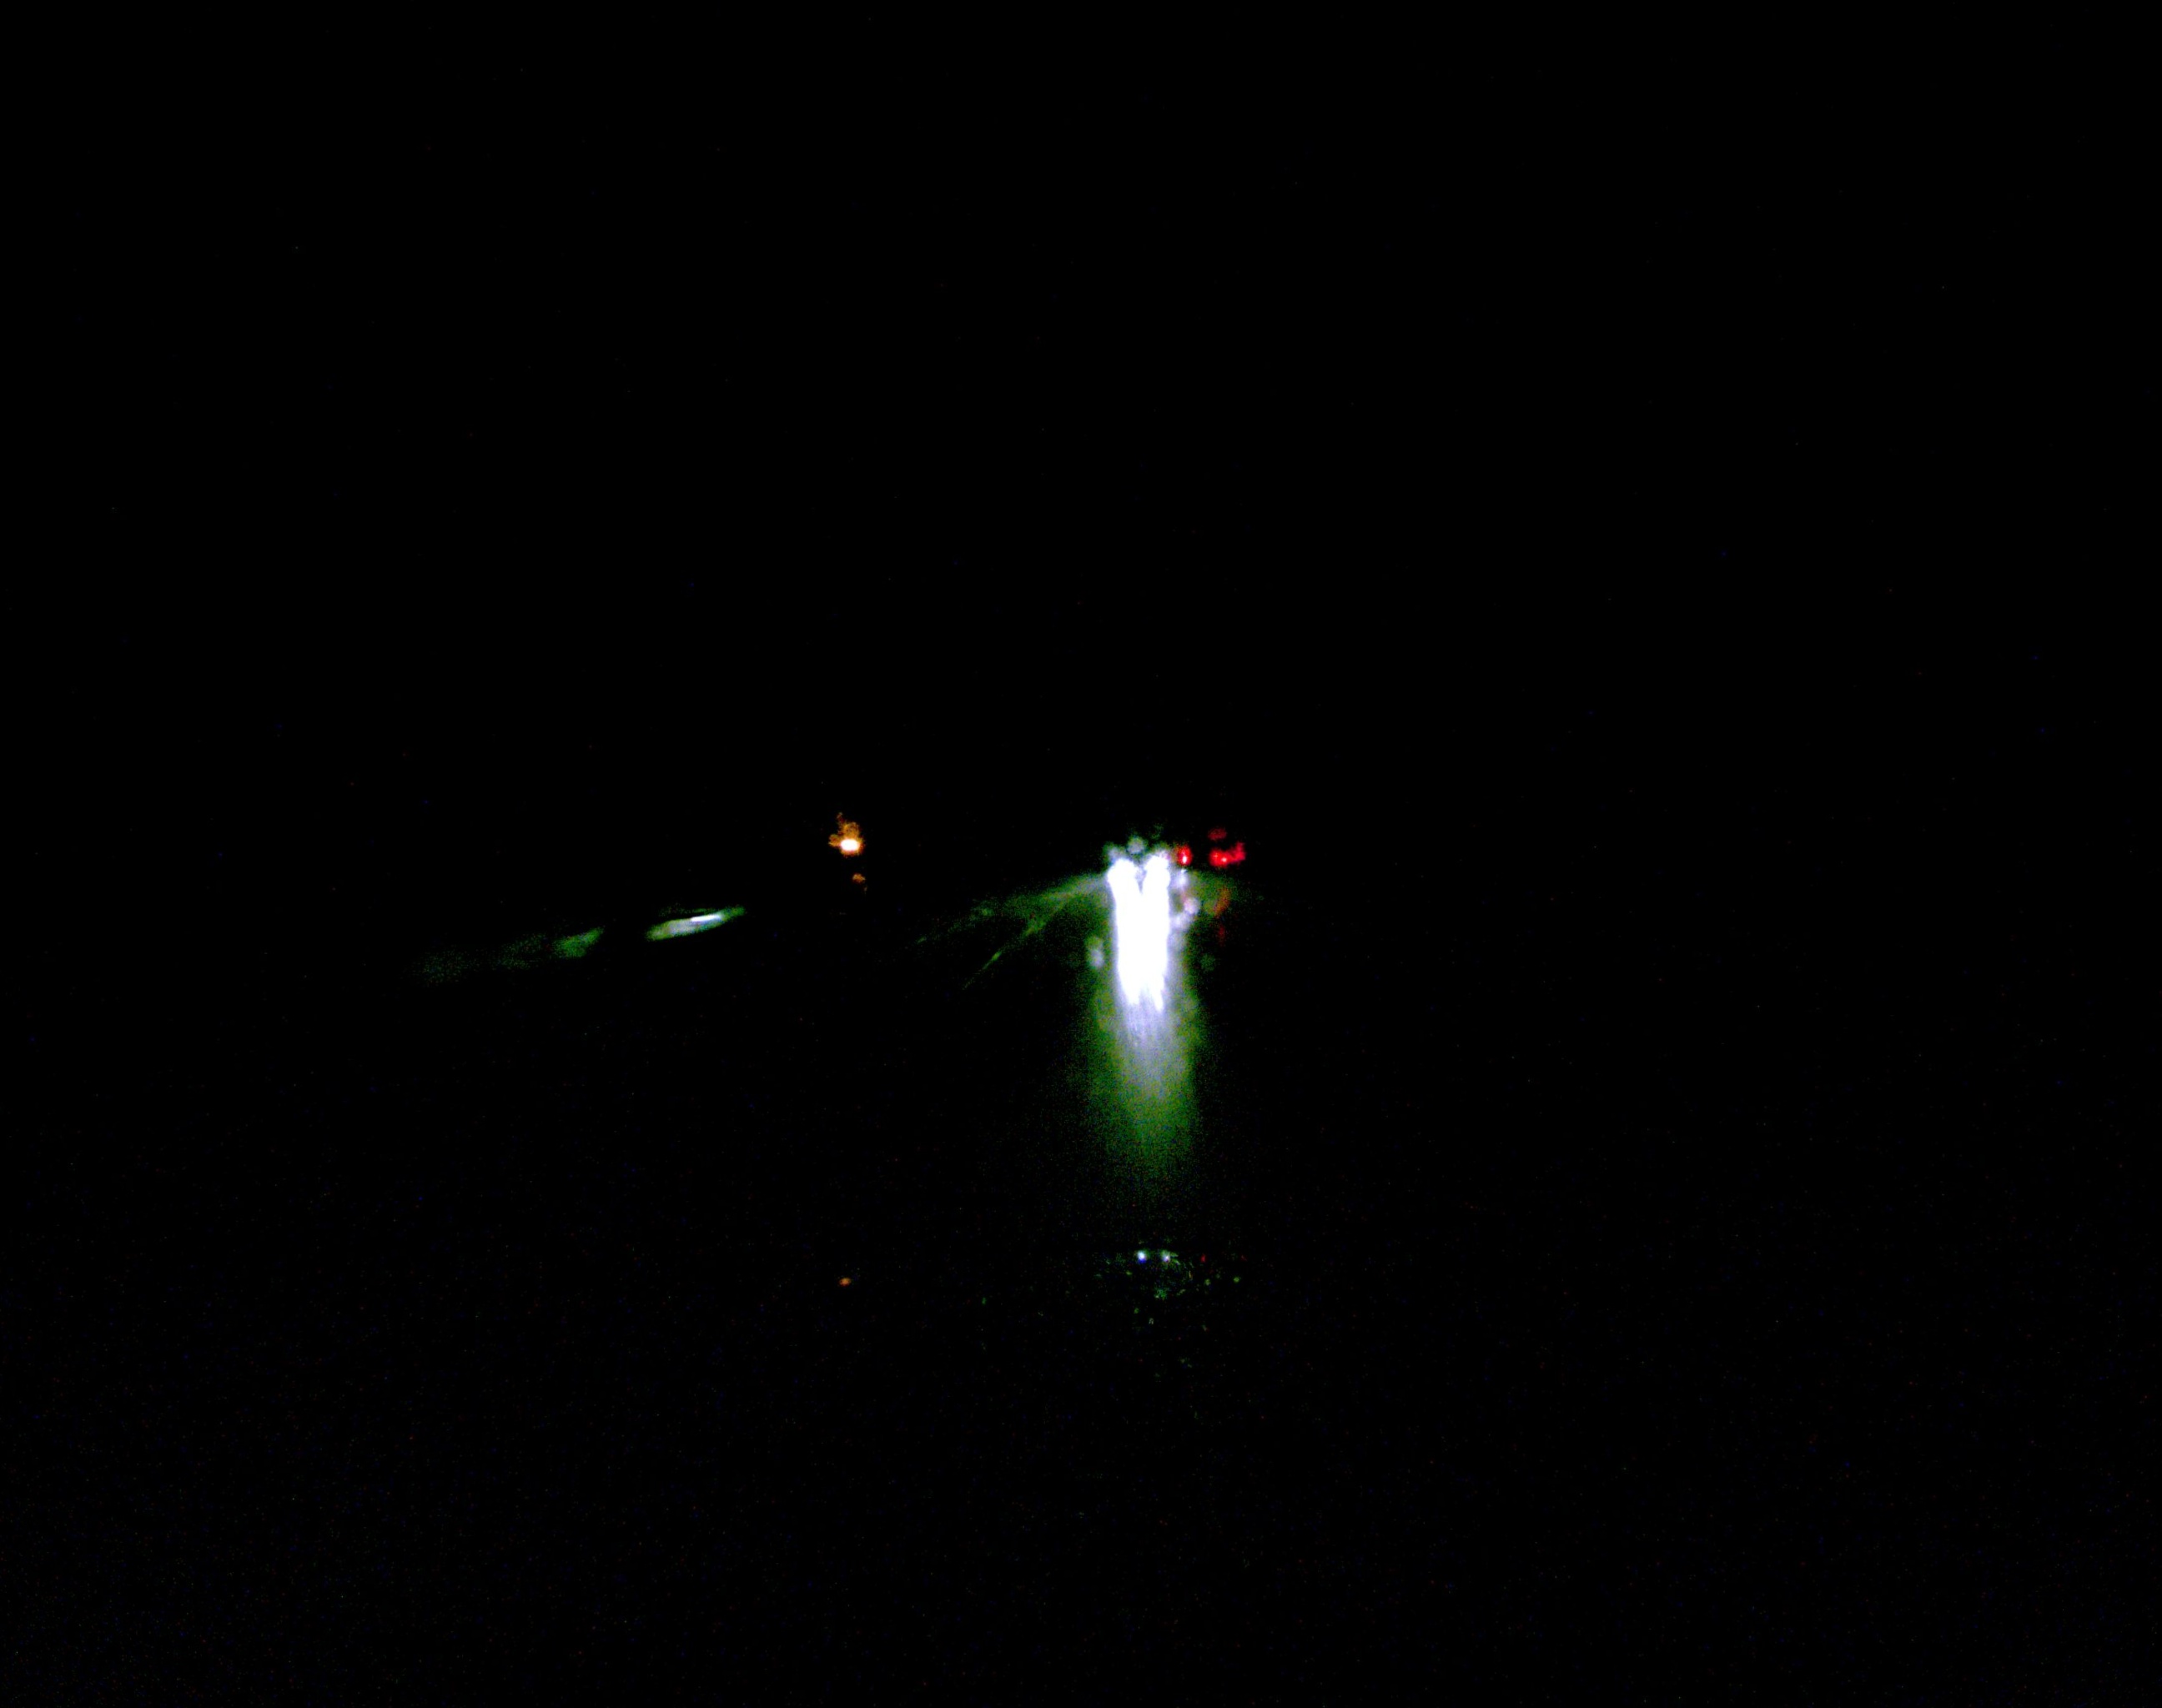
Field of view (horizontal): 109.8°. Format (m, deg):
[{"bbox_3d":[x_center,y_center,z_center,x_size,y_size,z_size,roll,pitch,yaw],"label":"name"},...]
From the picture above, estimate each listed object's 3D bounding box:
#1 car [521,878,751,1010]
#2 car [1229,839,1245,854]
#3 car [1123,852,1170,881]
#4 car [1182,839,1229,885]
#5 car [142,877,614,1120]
[{"bbox_3d":[-7.935,1.486,14.102,1.883,1.799,4.154,-4,0,-4],"label":"car"},{"bbox_3d":[20.677,-1.055,100.702,1.980,1.768,4.003,-4,0,12],"label":"car"},{"bbox_3d":[3.883,0.725,44.468,1.997,1.412,4.003,-4,0,14],"label":"car"},{"bbox_3d":[6.212,0.368,38.427,1.922,2.045,4.889,-4,0,6],"label":"car"},{"bbox_3d":[-7.994,1.428,9.415,1.883,2.028,4.388,-4,0,-5],"label":"car"}]
